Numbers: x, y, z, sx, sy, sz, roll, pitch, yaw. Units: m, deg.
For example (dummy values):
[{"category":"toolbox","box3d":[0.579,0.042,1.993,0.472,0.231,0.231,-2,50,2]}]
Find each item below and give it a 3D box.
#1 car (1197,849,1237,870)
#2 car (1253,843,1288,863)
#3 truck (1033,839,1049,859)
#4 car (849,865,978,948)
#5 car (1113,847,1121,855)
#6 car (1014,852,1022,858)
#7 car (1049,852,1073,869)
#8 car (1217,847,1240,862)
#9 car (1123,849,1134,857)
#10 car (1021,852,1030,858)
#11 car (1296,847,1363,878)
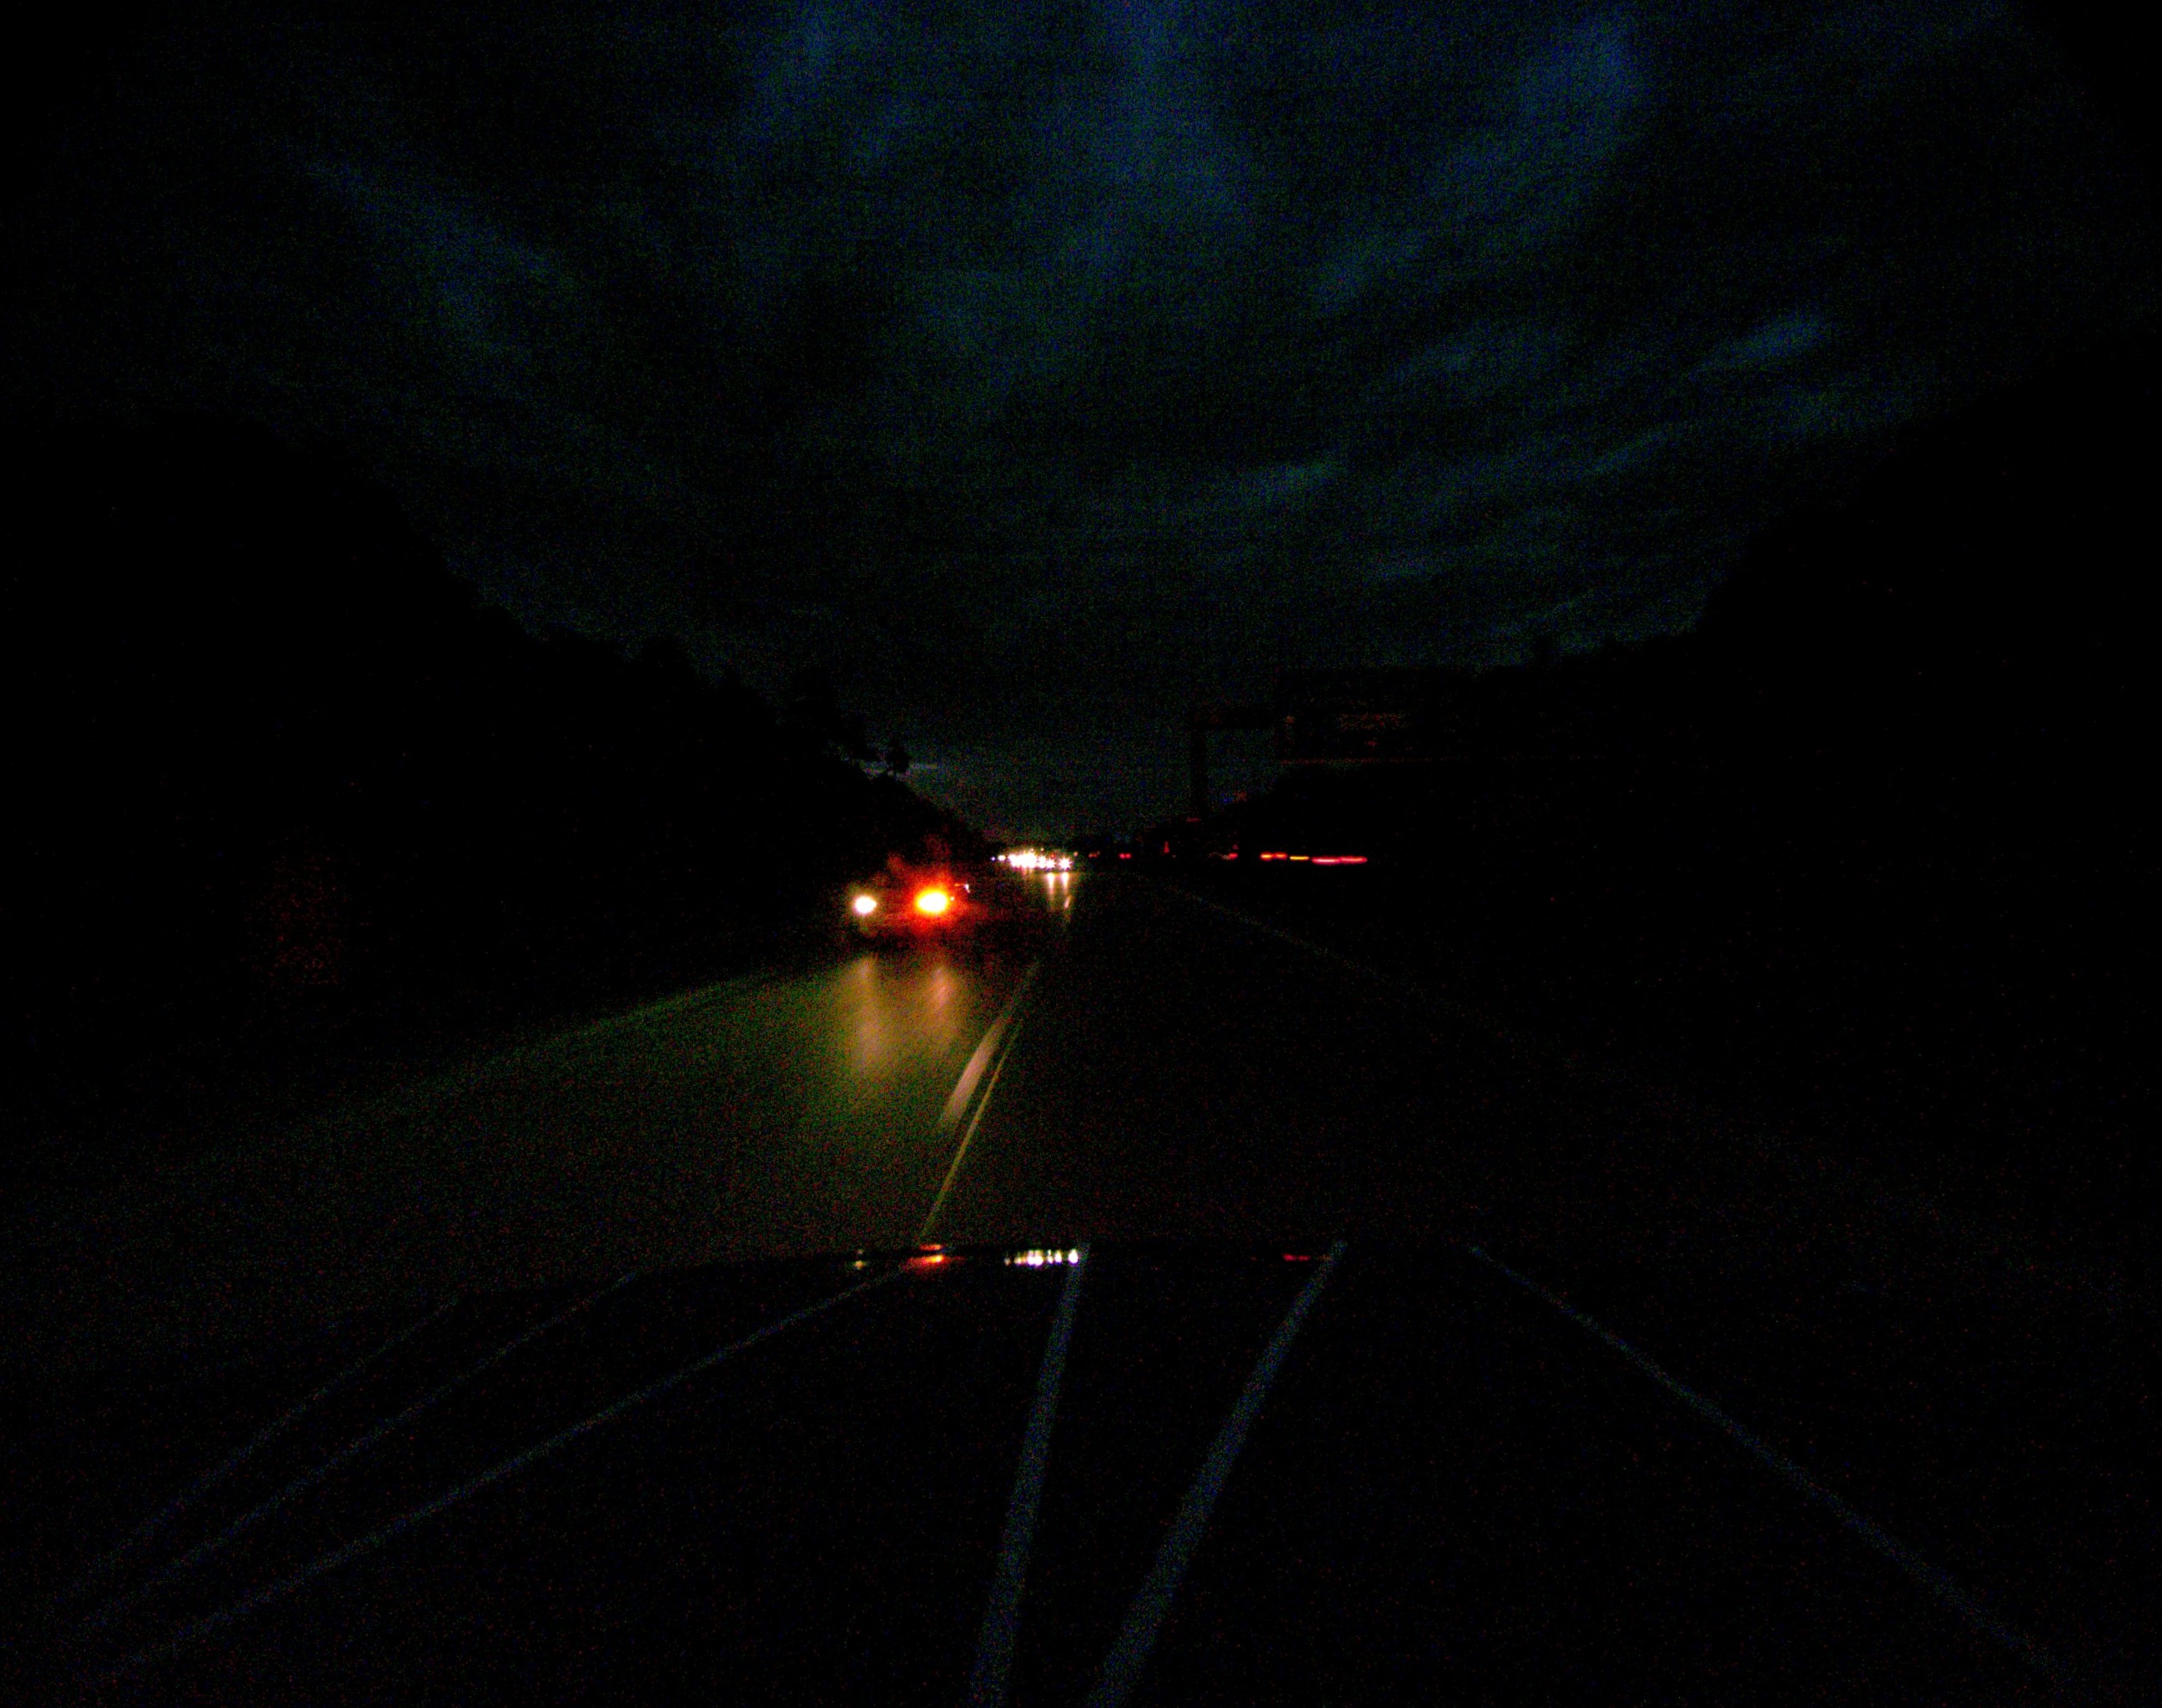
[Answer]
[{"category":"car","box3d":[9.864,0.376,55.242,1.999,1.428,4.372,-2,0,-1]},{"category":"car","box3d":[17.665,-0.069,70.942,1.999,1.787,4.372,-2,0,-1]},{"category":"truck","box3d":[-8.469,-1.111,162.803,3.145,3.987,10.541,-2,0,-2]},{"category":"car","box3d":[-3.477,1.034,16.673,1.880,1.435,4.450,-2,0,-1]},{"category":"car","box3d":[10.813,-0.944,229.163,1.999,2.142,4.371,-2,0,-3]},{"category":"car","box3d":[-17.843,0.312,216.979,1.999,1.539,3.999,-2,0,-1]},{"category":"car","box3d":[-1.910,0.633,73.200,1.998,1.539,4.001,-2,0,3]},{"category":"car","box3d":[18.175,0.036,93.581,1.998,1.787,4.206,-2,0,0]},{"category":"car","box3d":[10.836,-0.187,172.936,1.999,1.787,4.205,-2,0,-1]},{"category":"car","box3d":[-13.375,0.196,184.037,1.999,1.539,3.999,-2,0,-1]},{"category":"car","box3d":[12.511,0.411,38.596,1.742,1.402,4.806,-2,0,-1]}]
